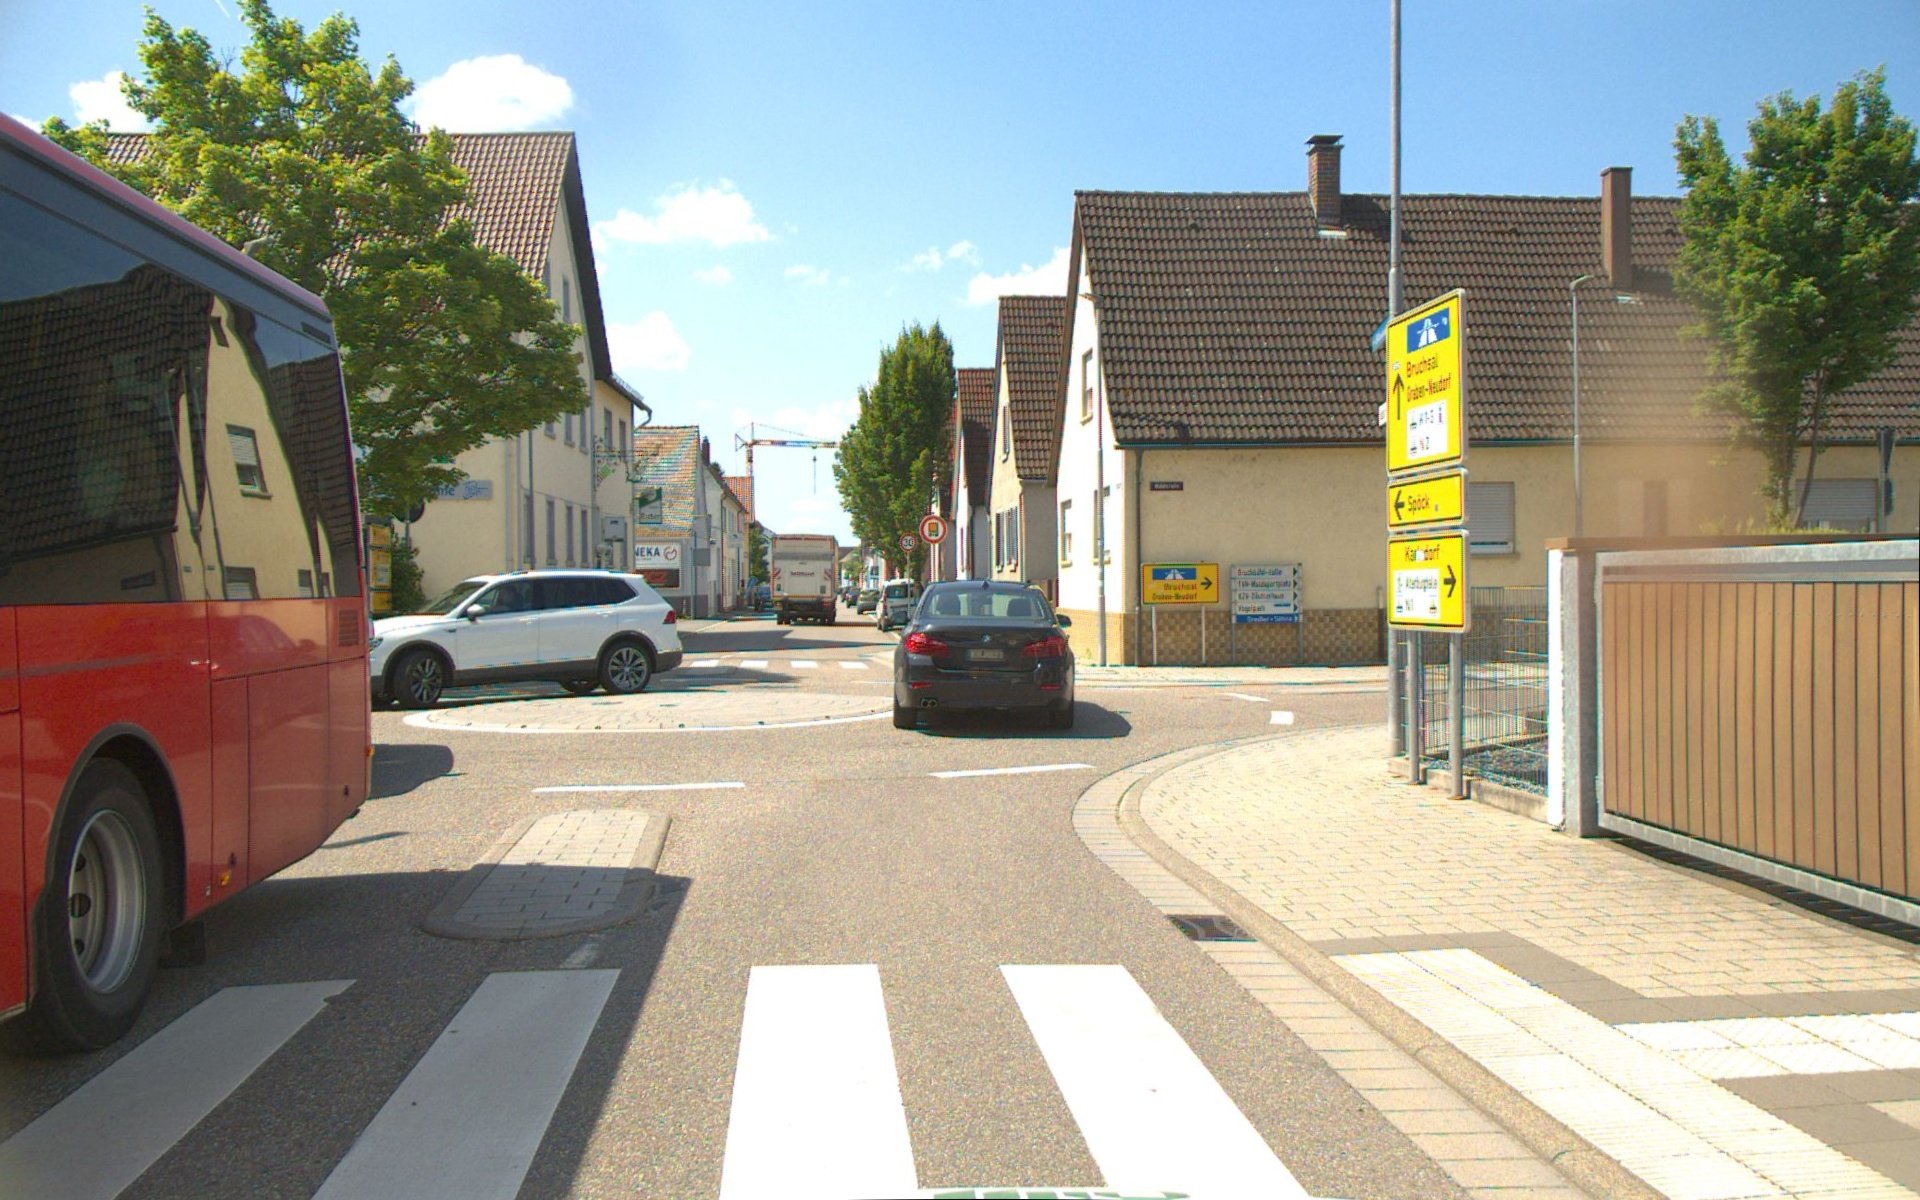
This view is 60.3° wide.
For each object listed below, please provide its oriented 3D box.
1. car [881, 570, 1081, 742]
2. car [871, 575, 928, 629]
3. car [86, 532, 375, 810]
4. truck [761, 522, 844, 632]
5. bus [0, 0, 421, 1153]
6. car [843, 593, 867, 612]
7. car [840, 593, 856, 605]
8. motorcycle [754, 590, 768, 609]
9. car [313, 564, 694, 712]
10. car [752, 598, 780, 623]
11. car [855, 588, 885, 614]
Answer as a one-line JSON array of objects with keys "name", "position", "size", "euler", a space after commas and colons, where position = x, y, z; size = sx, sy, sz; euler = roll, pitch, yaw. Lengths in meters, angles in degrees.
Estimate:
[{"name": "car", "position": [0.346, 0.499, 17.811], "size": [1.862, 1.591, 4.479], "euler": [-1, 1, 4]}, {"name": "car", "position": [-2.222, 0.038, 60.036], "size": [1.687, 1.821, 4.138], "euler": [-2, 1, -6]}, {"name": "car", "position": [-5.842, 0.472, 13.721], "size": [1.745, 1.852, 4.417], "euler": [-3, 1, -19]}, {"name": "truck", "position": [-6.545, -0.894, 69.994], "size": [3.082, 4.325, 9.295], "euler": [1, 0, -4]}, {"name": "bus", "position": [-3.743, -0.118, 2.880], "size": [2.576, 3.288, 12.010], "euler": [-3, 1, -5]}, {"name": "car", "position": [-7.948, 0.156, 124.813], "size": [1.686, 1.379, 4.153], "euler": [0, 0, -5]}, {"name": "car", "position": [-11.757, -0.122, 173.534], "size": [1.686, 1.291, 4.153], "euler": [0, 0, -5]}, {"name": "motorcycle", "position": [-12.809, -0.003, 106.398], "size": [0.830, 1.190, 2.466], "euler": [1, 0, -6]}, {"name": "car", "position": [-5.954, 0.424, 21.794], "size": [4.491, 1.739, 1.848], "euler": [-1, 1, -36]}, {"name": "car", "position": [-12.929, 0.688, 110.469], "size": [1.774, 1.617, 3.995], "euler": [0, 0, -5]}, {"name": "car", "position": [-5.260, 0.047, 96.530], "size": [1.685, 1.487, 4.154], "euler": [0, 0, -3]}]
